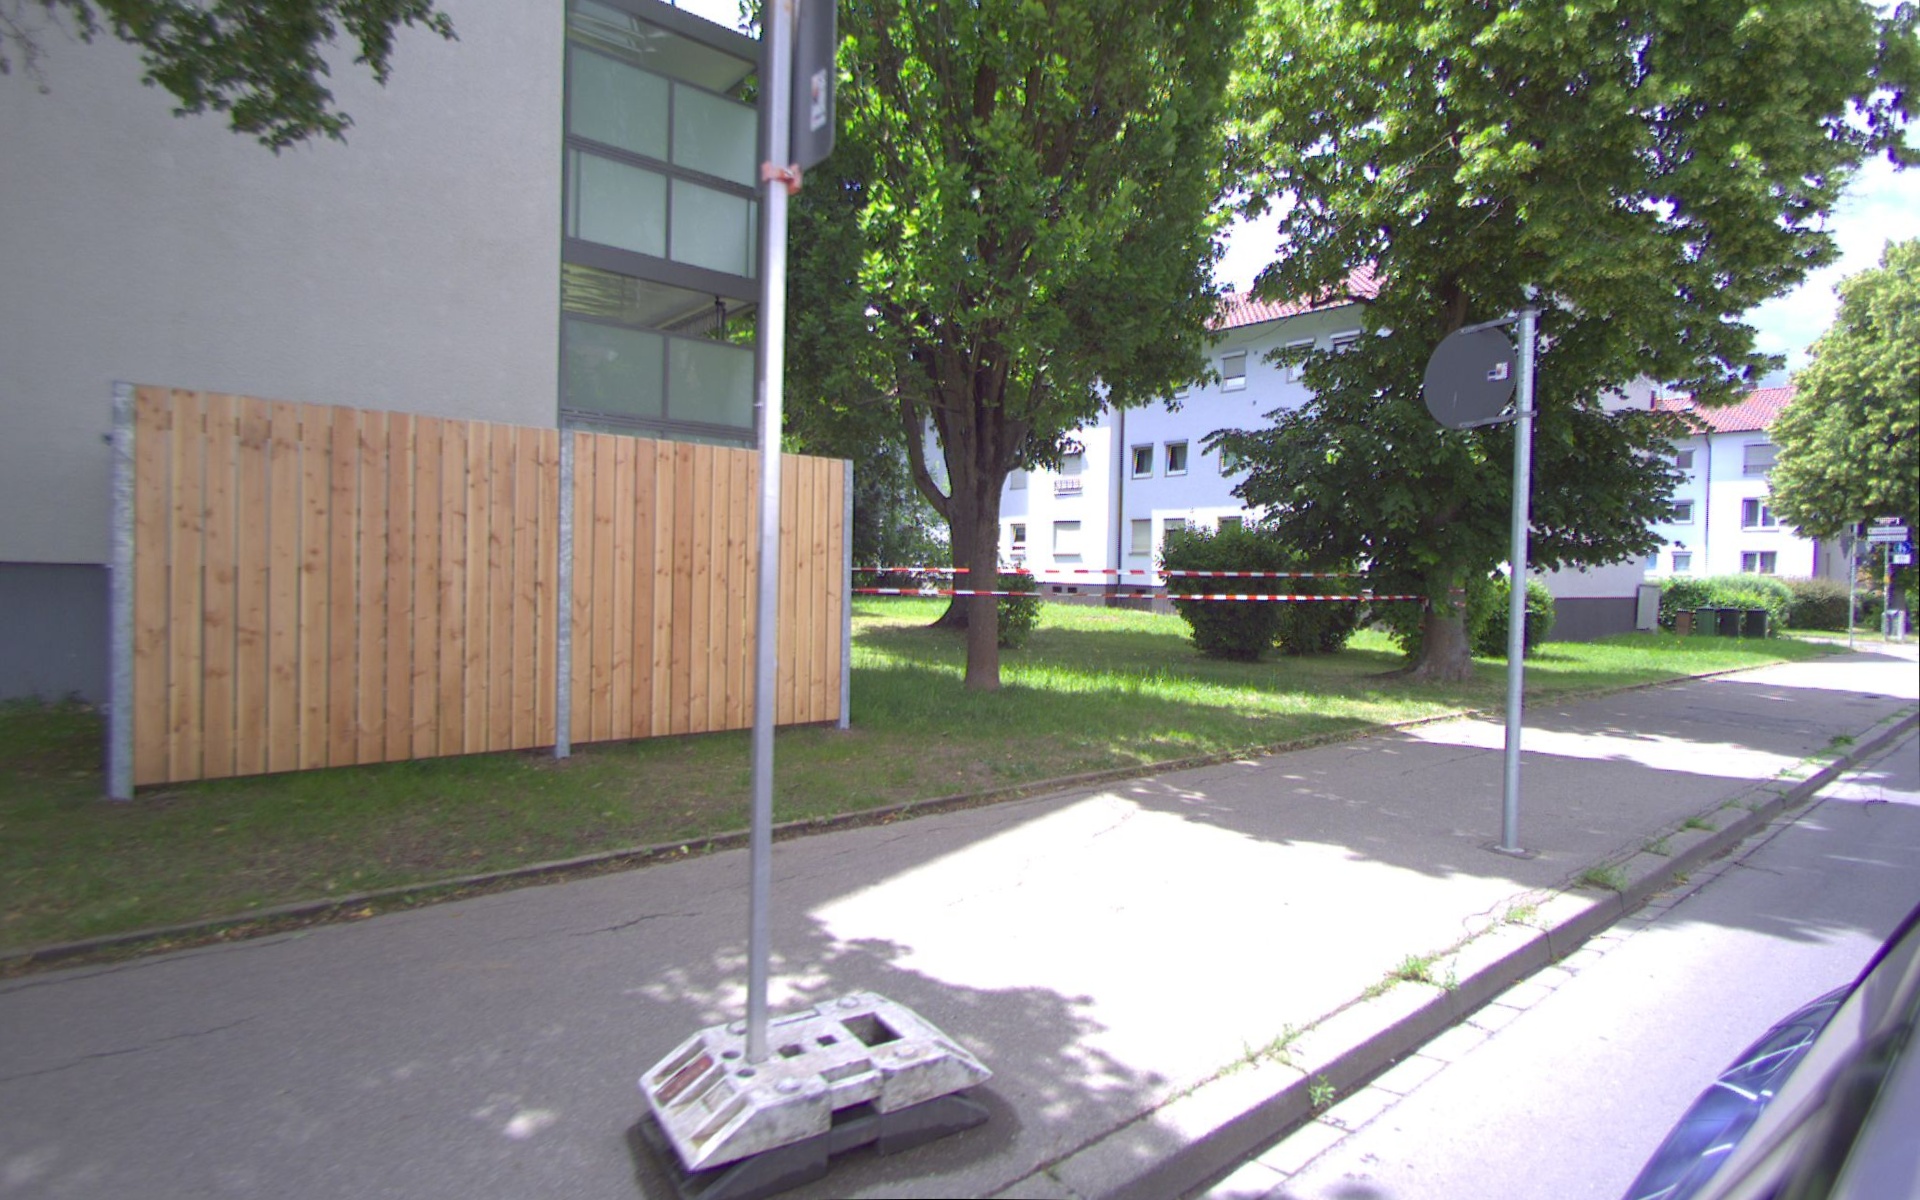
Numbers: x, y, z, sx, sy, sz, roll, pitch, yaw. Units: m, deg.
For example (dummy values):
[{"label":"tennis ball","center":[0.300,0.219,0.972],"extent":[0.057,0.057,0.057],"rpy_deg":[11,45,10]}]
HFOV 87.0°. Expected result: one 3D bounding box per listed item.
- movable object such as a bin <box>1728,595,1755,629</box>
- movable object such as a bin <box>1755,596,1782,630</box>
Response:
[{"label":"movable object such as a bin","center":[23.385,0.352,30.282],"extent":[0.541,0.959,0.501],"rpy_deg":[0,2,-41]},{"label":"movable object such as a bin","center":[23.875,0.387,29.883],"extent":[0.570,0.966,0.497],"rpy_deg":[0,2,-41]}]
